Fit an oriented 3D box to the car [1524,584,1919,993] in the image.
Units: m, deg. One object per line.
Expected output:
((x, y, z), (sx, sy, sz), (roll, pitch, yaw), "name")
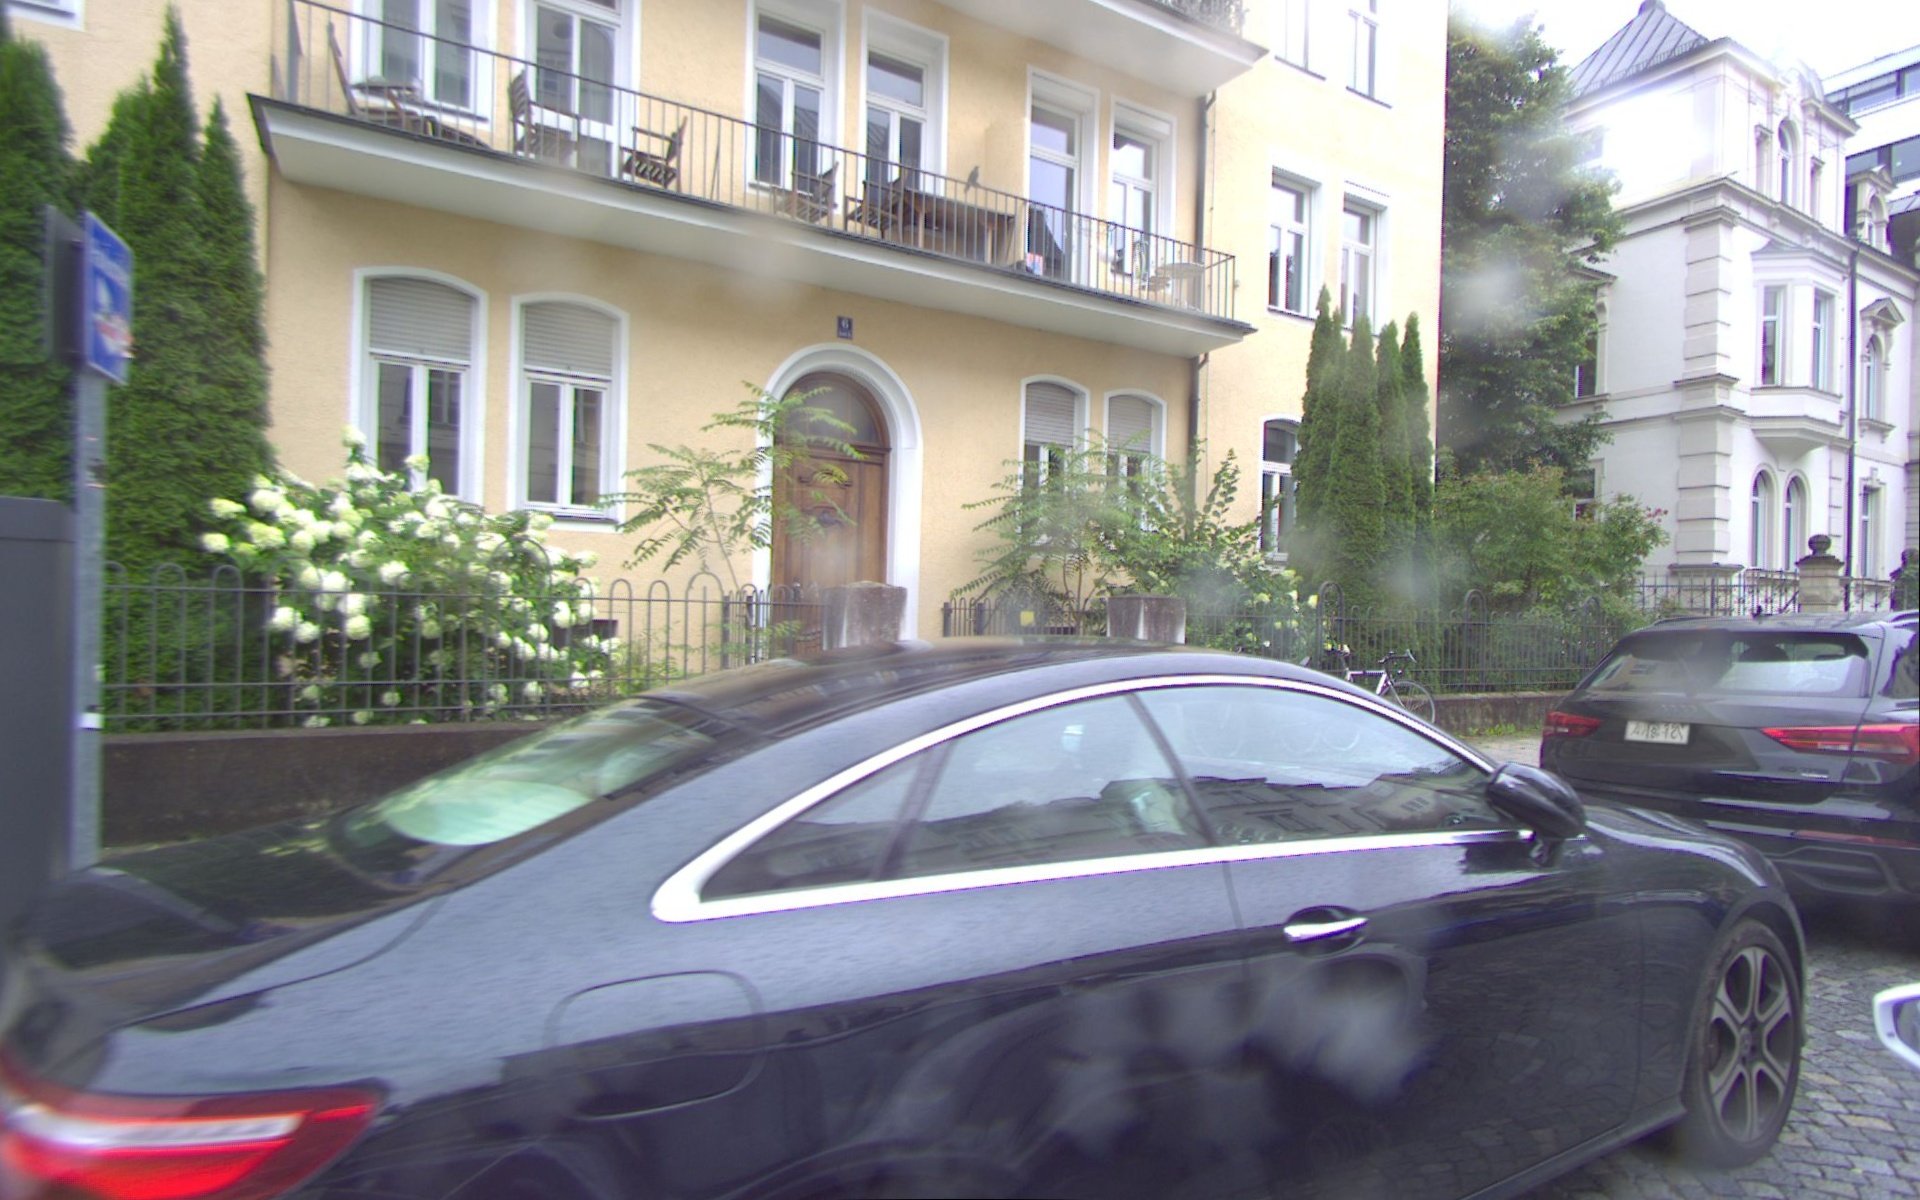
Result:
((5.145, 0.826, 5.644), (4.006, 1.611, 1.573), (2, -3, -29), "car")

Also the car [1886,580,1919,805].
((9.949, 0.768, 8.349), (4.665, 1.761, 1.973), (1, 0, -30), "car")

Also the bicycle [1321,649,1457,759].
((4.275, 1.002, 9.970), (1.554, 1.016, 0.350), (2, 0, -29), "bicycle")

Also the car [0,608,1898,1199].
((0.507, 0.812, 2.694), (4.340, 1.448, 1.765), (2, 0, -30), "car")

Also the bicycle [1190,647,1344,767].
((2.820, 0.950, 9.184), (1.554, 1.016, 0.350), (2, 0, -29), "bicycle")
